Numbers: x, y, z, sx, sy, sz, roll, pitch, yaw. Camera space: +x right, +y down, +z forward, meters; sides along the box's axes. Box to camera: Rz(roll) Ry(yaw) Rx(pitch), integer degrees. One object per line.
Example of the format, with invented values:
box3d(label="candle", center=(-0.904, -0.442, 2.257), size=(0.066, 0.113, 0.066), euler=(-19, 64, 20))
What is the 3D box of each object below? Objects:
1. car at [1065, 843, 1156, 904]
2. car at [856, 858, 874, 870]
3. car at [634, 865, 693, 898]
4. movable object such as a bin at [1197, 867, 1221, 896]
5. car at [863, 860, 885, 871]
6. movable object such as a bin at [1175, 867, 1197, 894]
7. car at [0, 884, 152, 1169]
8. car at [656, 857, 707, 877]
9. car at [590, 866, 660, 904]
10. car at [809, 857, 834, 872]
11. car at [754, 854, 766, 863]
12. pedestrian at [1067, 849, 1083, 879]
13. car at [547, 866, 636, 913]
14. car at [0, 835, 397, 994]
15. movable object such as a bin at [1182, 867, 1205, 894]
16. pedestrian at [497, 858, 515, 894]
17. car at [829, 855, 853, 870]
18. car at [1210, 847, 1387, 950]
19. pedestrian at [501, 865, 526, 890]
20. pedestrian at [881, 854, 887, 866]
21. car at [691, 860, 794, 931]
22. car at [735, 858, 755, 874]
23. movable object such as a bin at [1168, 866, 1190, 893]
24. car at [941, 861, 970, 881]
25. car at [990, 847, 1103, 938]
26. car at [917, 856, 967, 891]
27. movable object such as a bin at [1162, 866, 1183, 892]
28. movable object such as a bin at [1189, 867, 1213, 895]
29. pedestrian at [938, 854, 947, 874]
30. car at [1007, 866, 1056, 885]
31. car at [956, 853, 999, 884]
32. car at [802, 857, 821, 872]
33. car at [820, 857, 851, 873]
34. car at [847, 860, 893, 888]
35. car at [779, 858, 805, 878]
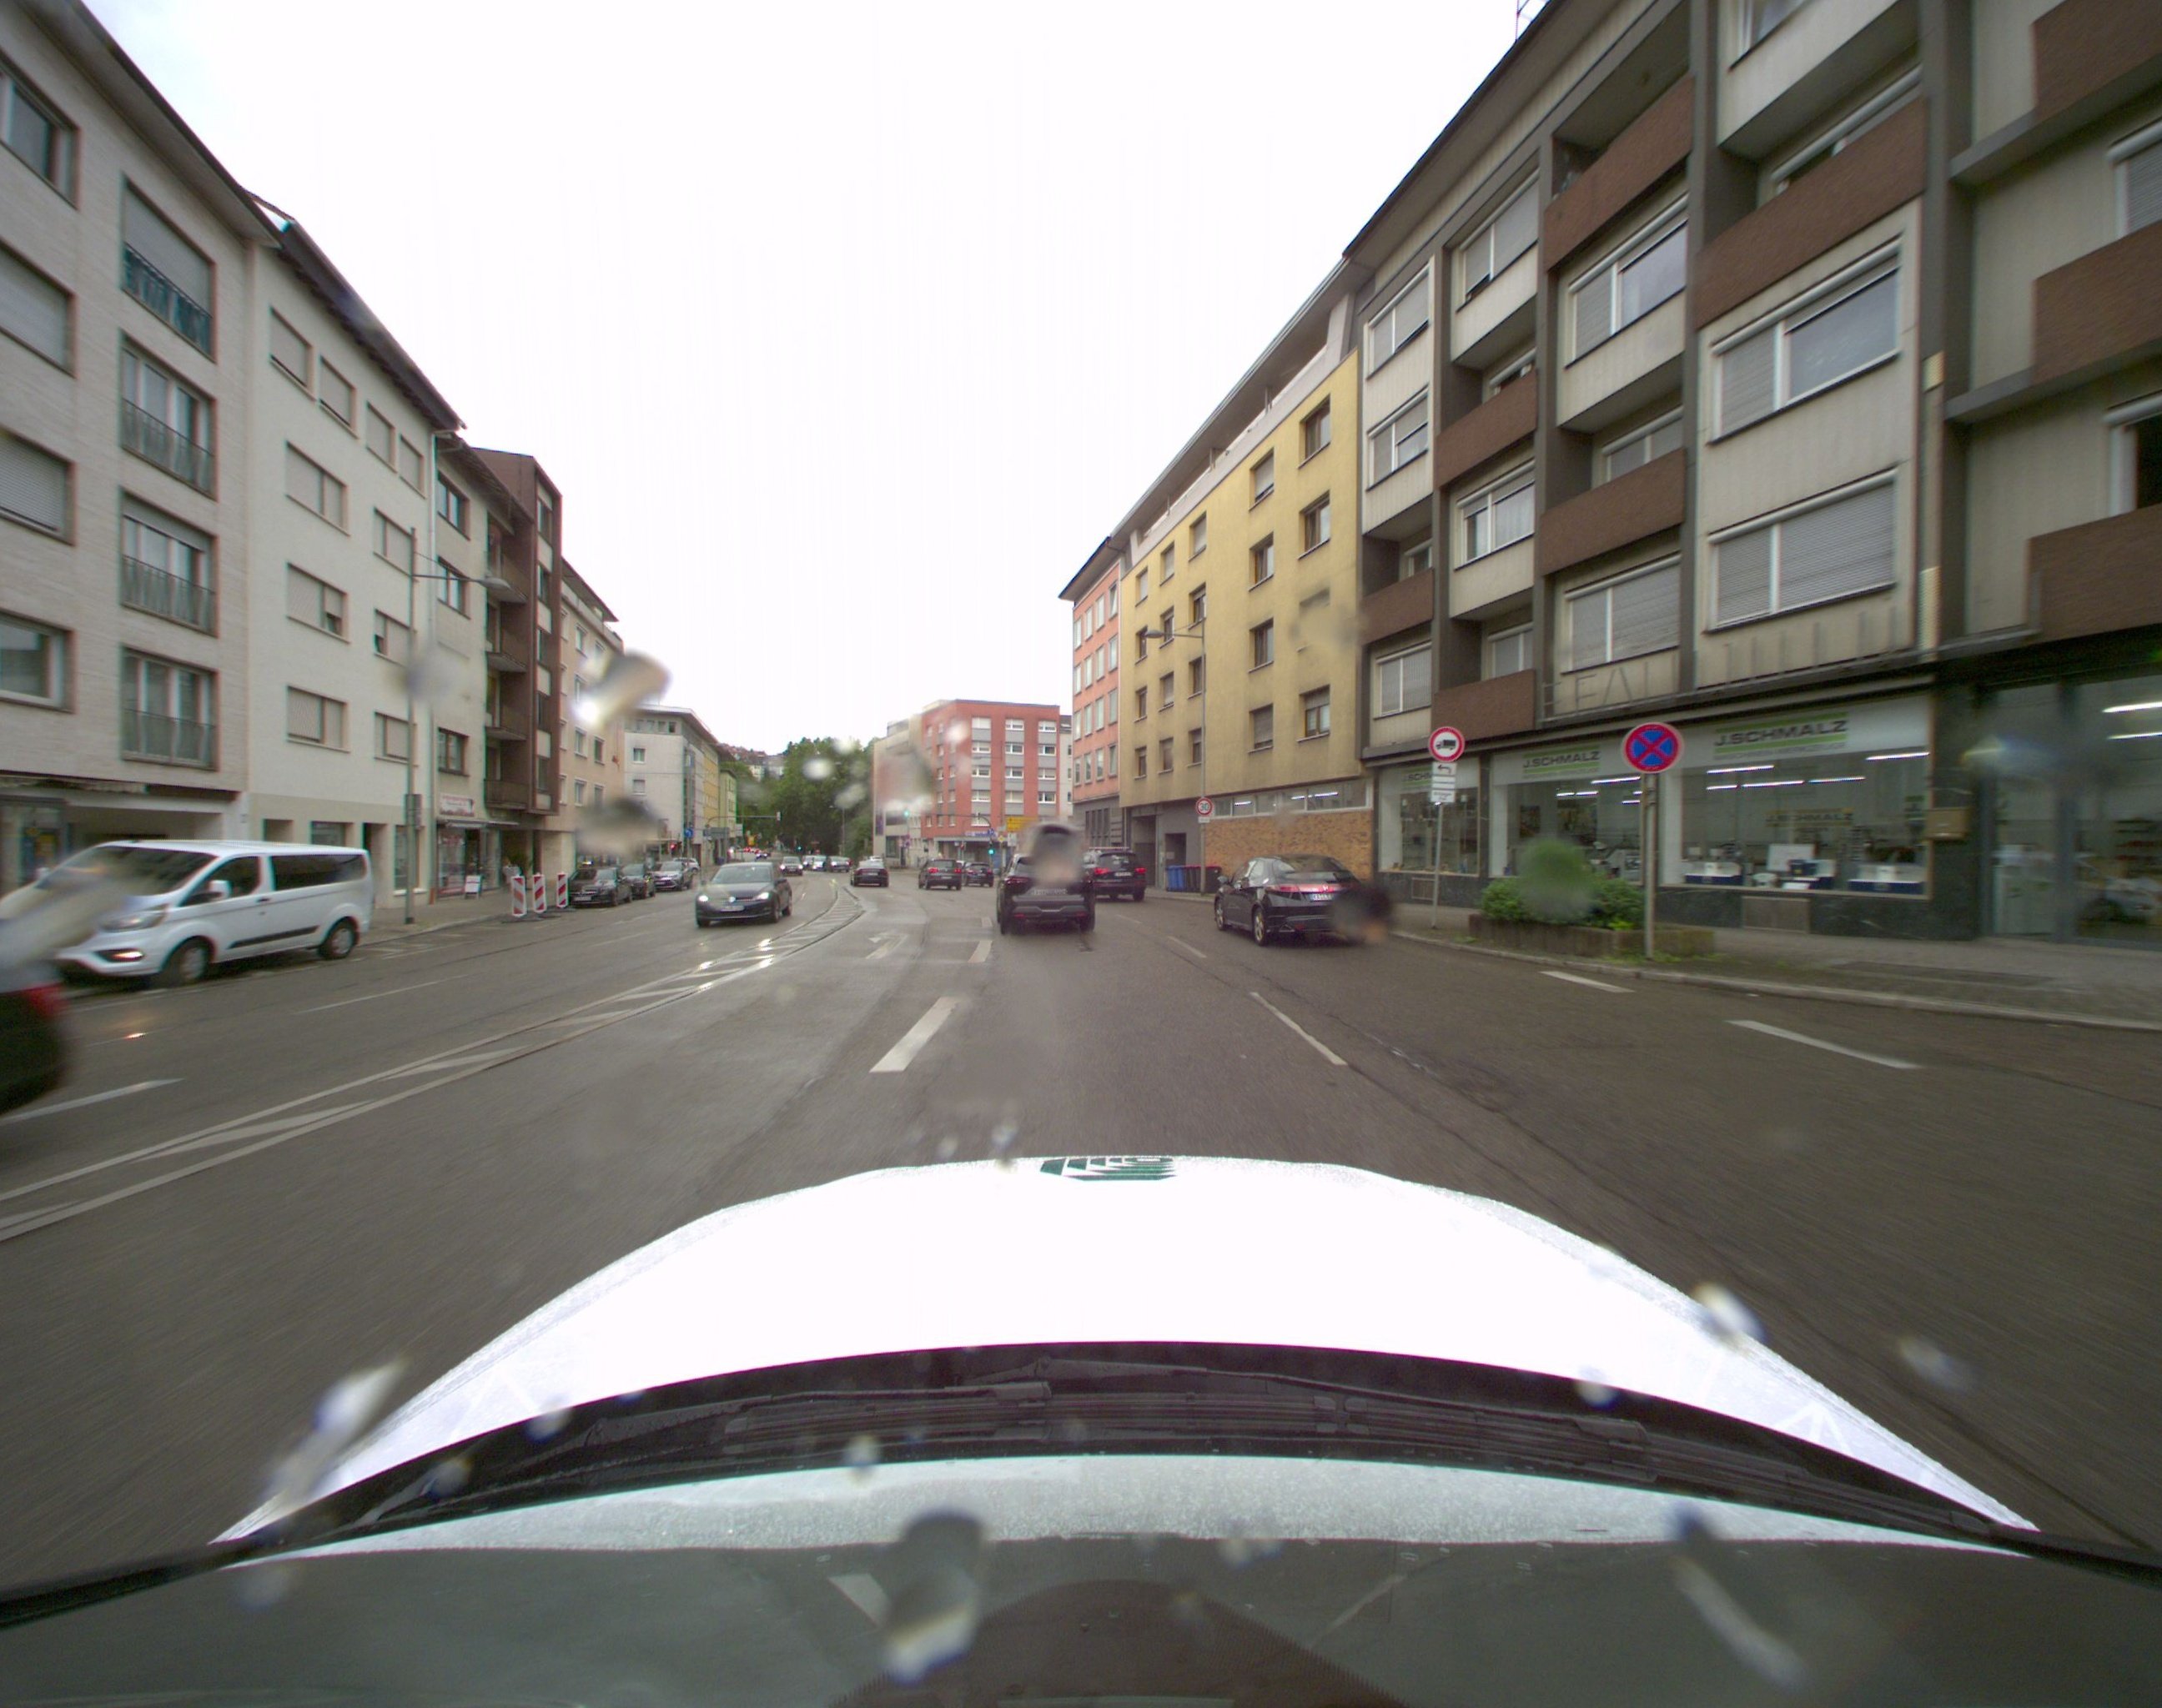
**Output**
box3d(label="car", center=(0.900, 0.619, 28.096), size=(2.022, 1.869, 4.880), euler=(-2, 0, -11))
box3d(label="car", center=(-30.077, 1.369, 113.396), size=(1.723, 1.442, 4.048), euler=(-2, 1, -25))
box3d(label="car", center=(-21.819, 1.388, 42.761), size=(1.912, 1.554, 4.604), euler=(-1, -1, -16))
box3d(label="movable object such as a bin", center=(4.869, 1.044, 31.020), size=(0.683, 1.077, 0.664), euler=(0, -1, -18))
box3d(label="car", center=(-27.332, 1.509, 107.562), size=(1.785, 1.401, 4.538), euler=(-1, 1, -28))
box3d(label="movable object such as a bin", center=(4.249, 1.062, 32.968), size=(0.683, 1.077, 0.664), euler=(0, -1, -18))
box3d(label="car", center=(-6.514, 0.944, 2.663), size=(1.980, 1.459, 4.477), euler=(-2, 0, -5))
box3d(label="car", center=(-35.868, 1.148, 73.187), size=(1.668, 1.706, 4.019), euler=(2, -1, 19))
box3d(label="car", center=(-19.598, 1.266, 35.192), size=(2.001, 1.477, 4.487), euler=(0, 0, -21))
box3d(label="car", center=(-26.770, 1.097, 84.089), size=(1.944, 1.527, 4.100), euler=(0, -1, -25))
box3d(label="car", center=(-65.977, 0.888, 167.441), size=(2.000, 1.860, 3.973), euler=(2, -1, -20))
box3d(label="pedestrian", center=(-0.386, 0.582, 48.217), size=(0.674, 1.787, 1.089), euler=(1, -1, -15))
box3d(label="car", center=(-17.884, 1.234, 29.996), size=(1.889, 1.477, 4.945), euler=(-1, 0, -21))
box3d(label="car", center=(-13.890, 0.852, 13.039), size=(2.119, 2.015, 5.110), euler=(3, -2, -10))
box3d(label="movable object such as a bin", center=(4.454, 1.038, 32.322), size=(0.683, 1.077, 0.664), euler=(0, -1, -18))
box3d(label="pedestrian", center=(-25.223, 0.953, 35.723), size=(0.546, 1.583, 0.663), euler=(1, -1, -32))
box3d(label="car", center=(-28.172, 0.979, 95.557), size=(2.003, 1.530, 3.967), euler=(2, -1, -25))
box3d(label="car", center=(3.572, 0.653, 14.177), size=(1.780, 1.496, 4.051), euler=(-1, 0, -4))
box3d(label="pedestrian", center=(-26.110, 1.069, 37.483), size=(0.668, 1.148, 0.596), euler=(0, -1, 9))
box3d(label="pedestrian", center=(-28.217, 0.891, 116.511), size=(0.616, 1.737, 0.674), euler=(-2, 0, -33))
box3d(label="car", center=(-8.229, 0.934, 20.127), size=(1.686, 1.473, 3.981), euler=(-2, 0, -14))
box3d(label="car", center=(-35.827, 1.263, 86.953), size=(1.697, 1.626, 3.975), euler=(-1, 0, -18))
box3d(label="movable object such as a bin", center=(4.039, 1.051, 33.616), size=(0.683, 1.077, 0.664), euler=(0, -1, -18))
box3d(label="car", center=(-10.025, 1.336, 65.245), size=(1.991, 1.486, 3.991), euler=(2, 0, -6))
box3d(label="car", center=(-0.848, 0.697, 16.939), size=(1.894, 1.629, 3.987), euler=(-1, 0, -9))
box3d(label="car", center=(-7.339, 1.001, 42.690), size=(1.952, 1.685, 3.974), euler=(-2, 0, -20))
box3d(label="movable object such as a bin", center=(3.837, 1.057, 34.284), size=(0.683, 1.077, 0.664), euler=(0, -1, -18))
box3d(label="movable object such as a bin", center=(4.656, 1.052, 31.669), size=(0.683, 1.077, 0.664), euler=(0, -1, -18))
box3d(label="pedestrian", center=(-15.483, 1.106, 90.827), size=(0.828, 2.158, 0.764), euler=(2, -1, -20))
box3d(label="car", center=(-4.530, 1.982, 74.407), size=(4.010, 1.519, 1.982), euler=(2, -1, -29))
box3d(label="car", center=(-6.547, 0.902, 51.033), size=(1.951, 1.816, 3.976), euler=(-2, 0, -18))
box3d(label="car", center=(-29.570, 1.134, 89.315), size=(1.827, 1.608, 4.399), euler=(0, -1, -21))
box3d(label="car", center=(-23.978, 1.041, 79.415), size=(1.868, 1.553, 4.184), euler=(0, 0, -31))
box3d(label="car", center=(-11.904, 1.100, 45.775), size=(2.000, 1.388, 4.469), euler=(2, 0, -20))
box3d(label="car", center=(-24.890, 1.162, 70.057), size=(1.870, 1.647, 4.222), euler=(-1, 0, -22))
